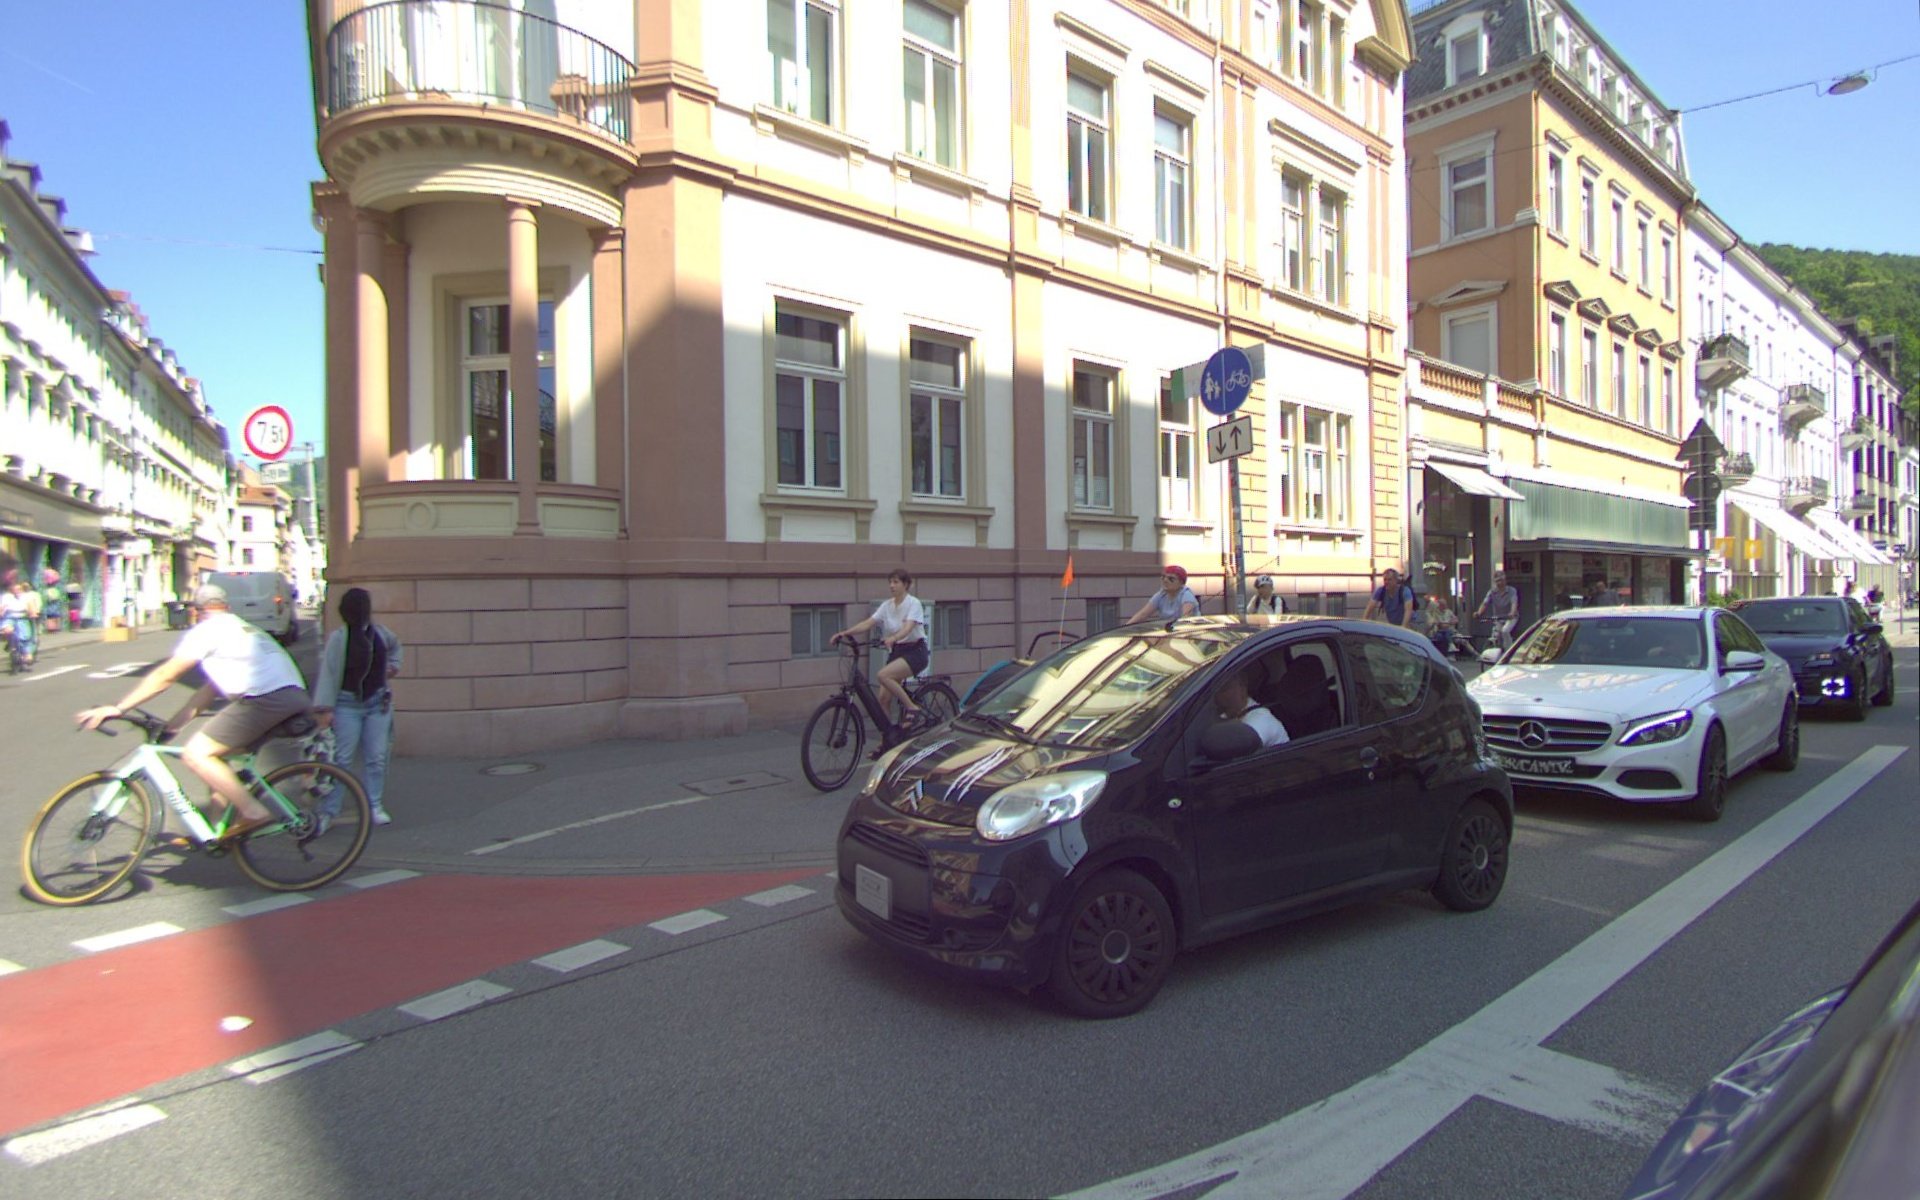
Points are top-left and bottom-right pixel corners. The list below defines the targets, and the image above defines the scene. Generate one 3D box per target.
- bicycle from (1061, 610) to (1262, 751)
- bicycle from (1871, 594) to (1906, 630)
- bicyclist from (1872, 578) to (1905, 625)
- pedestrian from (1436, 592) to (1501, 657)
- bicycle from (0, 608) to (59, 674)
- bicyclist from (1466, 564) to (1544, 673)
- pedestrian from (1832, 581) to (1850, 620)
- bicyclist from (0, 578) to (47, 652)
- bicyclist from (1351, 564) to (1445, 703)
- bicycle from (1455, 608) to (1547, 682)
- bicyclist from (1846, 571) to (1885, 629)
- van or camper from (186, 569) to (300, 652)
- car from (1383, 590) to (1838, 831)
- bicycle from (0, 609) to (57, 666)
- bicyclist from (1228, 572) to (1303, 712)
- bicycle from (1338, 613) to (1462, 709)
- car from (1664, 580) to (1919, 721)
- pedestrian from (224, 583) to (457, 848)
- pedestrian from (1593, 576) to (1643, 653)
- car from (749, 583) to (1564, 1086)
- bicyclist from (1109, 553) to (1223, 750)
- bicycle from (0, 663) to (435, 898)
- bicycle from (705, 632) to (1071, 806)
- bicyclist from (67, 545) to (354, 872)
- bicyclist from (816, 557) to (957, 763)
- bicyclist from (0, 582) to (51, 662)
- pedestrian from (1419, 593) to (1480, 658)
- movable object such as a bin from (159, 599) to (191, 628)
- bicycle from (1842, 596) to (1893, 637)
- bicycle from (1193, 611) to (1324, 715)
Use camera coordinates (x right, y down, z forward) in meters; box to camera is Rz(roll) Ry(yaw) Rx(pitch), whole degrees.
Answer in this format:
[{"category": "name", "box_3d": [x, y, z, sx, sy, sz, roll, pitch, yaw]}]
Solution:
[{"category": "bicycle", "box_3d": [1.921, 0.692, 9.487, 1.997, 1.141, 0.737, -1, 2, -39]}, {"category": "bicycle", "box_3d": [32.111, 0.407, 34.998, 2.056, 1.140, 0.596, -2, 3, -39]}, {"category": "bicyclist", "box_3d": [32.087, 0.049, 34.985, 0.829, 1.593, 0.747, -1, 1, -40]}, {"category": "pedestrian", "box_3d": [11.077, 0.521, 22.071, 0.614, 1.332, 1.088, 0, 3, -41]}, {"category": "bicycle", "box_3d": [-17.573, 0.734, 18.817, 0.757, 1.141, 2.575, 0, 0, -31]}, {"category": "bicyclist", "box_3d": [9.014, 0.278, 16.749, 0.830, 1.738, 0.909, -1, 1, -42]}, {"category": "pedestrian", "box_3d": [38.924, 0.004, 44.733, 0.853, 1.689, 0.482, 0, 0, -41]}, {"category": "bicyclist", "box_3d": [-20.011, 0.319, 21.602, 0.615, 1.549, 0.889, 1, -1, -31]}, {"category": "bicyclist", "box_3d": [5.706, 0.402, 13.186, 0.829, 1.738, 0.840, -1, 1, -40]}, {"category": "bicycle", "box_3d": [8.955, 0.713, 16.714, 1.885, 1.132, 0.747, 0, 0, -42]}, {"category": "bicyclist", "box_3d": [27.652, -0.011, 30.915, 1.017, 1.724, 0.747, -1, 1, -40]}, {"category": "van or camper", "box_3d": [-19.335, 0.200, 27.487, 1.960, 2.039, 4.591, -1, 1, -28]}, {"category": "car", "box_3d": [5.653, 0.687, 8.501, 4.802, 1.443, 1.954, -1, -2, -42]}, {"category": "bicycle", "box_3d": [-20.038, 0.777, 21.633, 0.615, 1.141, 2.575, 0, 0, -31]}, {"category": "bicyclist", "box_3d": [3.773, 0.491, 12.502, 0.829, 1.656, 0.516, -1, 1, -40]}, {"category": "bicycle", "box_3d": [5.773, 0.754, 13.225, 1.956, 1.132, 0.664, -1, 1, -39]}, {"category": "car", "box_3d": [11.124, 0.583, 13.437, 4.216, 1.510, 1.888, -2, -2, -41]}, {"category": "pedestrian", "box_3d": [-4.255, 0.726, 7.010, 0.892, 1.631, 0.970, 0, 3, 22]}, {"category": "pedestrian", "box_3d": [15.988, 0.339, 24.600, 0.754, 1.813, 0.840, -1, 1, -40]}, {"category": "car", "box_3d": [1.041, 0.735, 4.854, 3.658, 1.497, 1.635, -2, 0, -31]}, {"category": "bicyclist", "box_3d": [1.925, 0.445, 9.465, 0.829, 1.738, 0.684, -1, 1, -40]}, {"category": "bicycle", "box_3d": [-4.112, 0.948, 5.624, 2.034, 1.141, 0.574, 1, 1, -15]}, {"category": "bicycle", "box_3d": [-0.475, 0.884, 8.461, 3.182, 1.141, 0.750, 0, 1, -39]}, {"category": "bicyclist", "box_3d": [-4.103, 0.558, 5.622, 1.134, 1.682, 0.574, 1, 1, -15]}, {"category": "bicyclist", "box_3d": [-0.605, 0.464, 8.346, 0.829, 1.593, 0.747, 3, -1, -40]}, {"category": "bicyclist", "box_3d": [-17.573, 0.394, 18.821, 0.757, 1.449, 1.261, 0, -1, -31]}, {"category": "pedestrian", "box_3d": [10.484, 0.531, 21.688, 0.614, 1.332, 1.031, 0, 1, -41]}, {"category": "movable object such as a bin", "box_3d": [-32.944, 0.555, 42.483, 0.948, 1.162, 1.264, -1, 0, -34]}, {"category": "bicycle", "box_3d": [27.872, 0.491, 31.067, 2.527, 1.141, 0.743, -2, 2, -39]}, {"category": "bicycle", "box_3d": [3.695, 0.738, 12.433, 1.826, 1.141, 0.607, -1, 2, -39]}]
